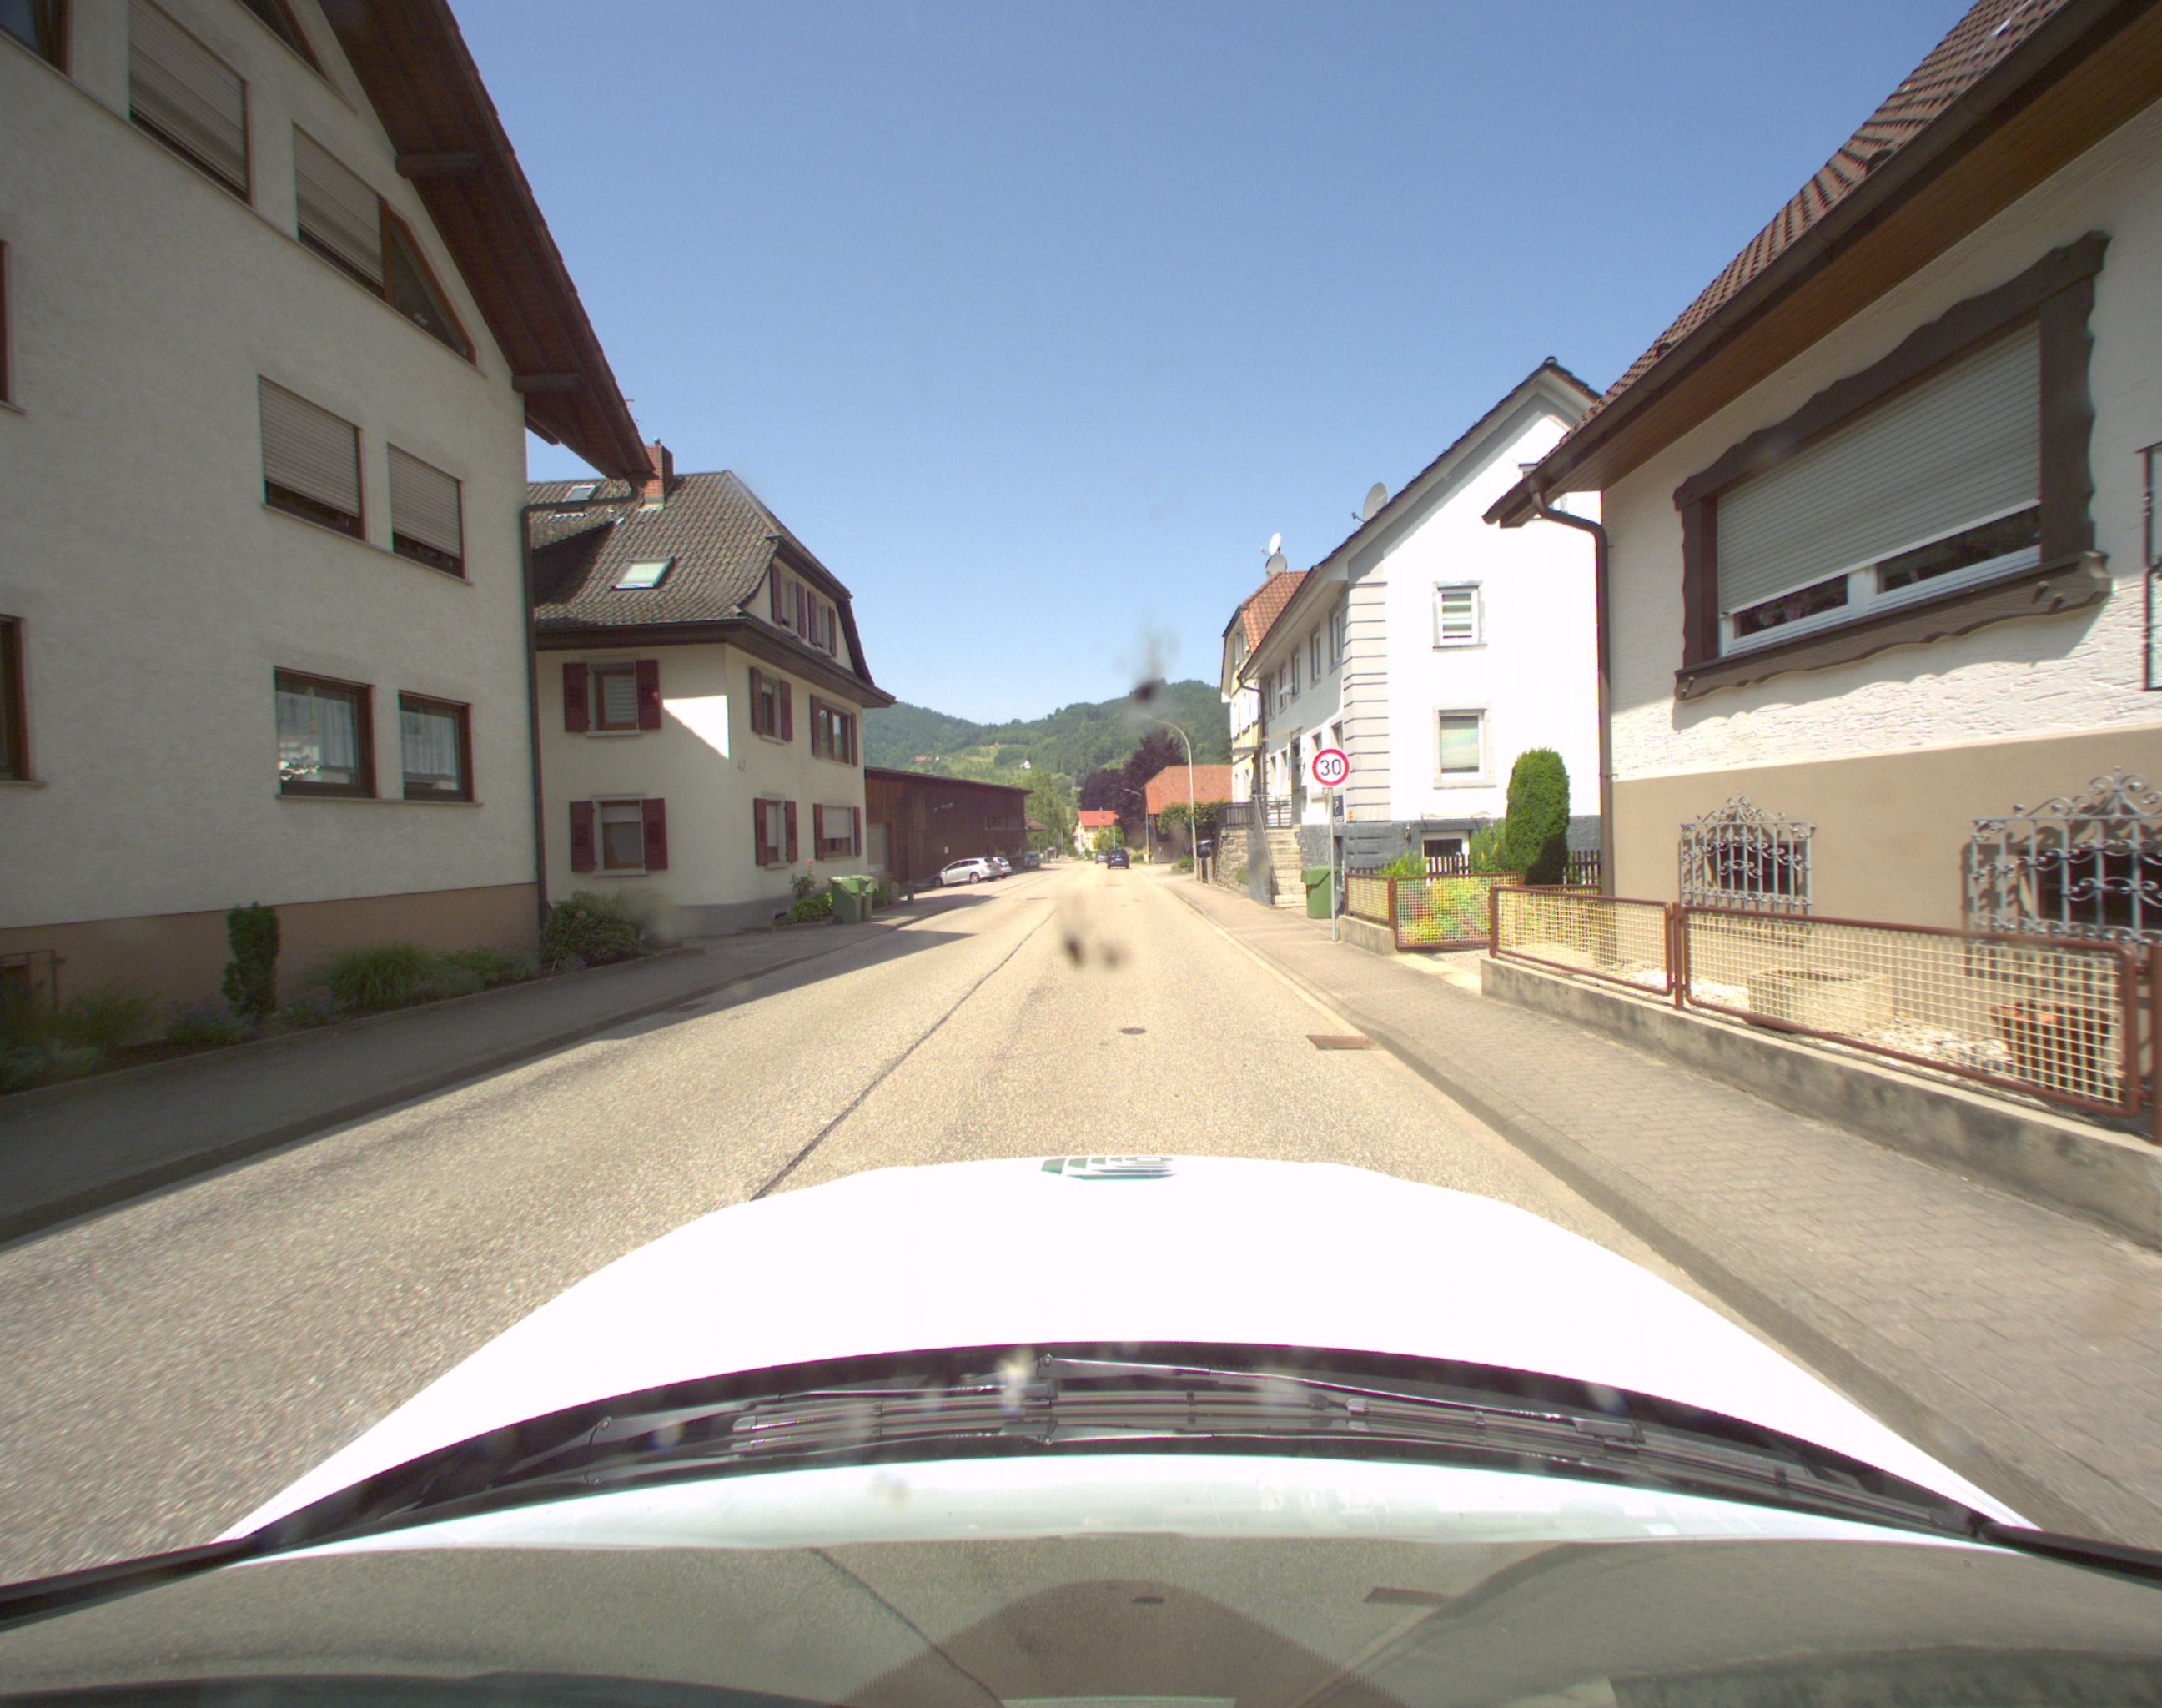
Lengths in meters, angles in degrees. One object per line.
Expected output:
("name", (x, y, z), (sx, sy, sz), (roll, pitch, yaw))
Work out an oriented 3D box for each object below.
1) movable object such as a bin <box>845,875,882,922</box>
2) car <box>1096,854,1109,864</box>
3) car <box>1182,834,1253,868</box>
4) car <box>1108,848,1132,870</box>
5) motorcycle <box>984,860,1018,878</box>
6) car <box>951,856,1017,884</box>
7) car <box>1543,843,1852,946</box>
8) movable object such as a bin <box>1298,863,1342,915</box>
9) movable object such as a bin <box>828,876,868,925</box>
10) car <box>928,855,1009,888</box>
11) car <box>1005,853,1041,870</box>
("movable object such as a bin", (-5.198, 1.054, 19.457), (0.673, 1.067, 0.621), (-2, 0, 0))
("car", (2.960, 0.673, 111.904), (1.473, 1.209, 2.382), (-3, 0, -3))
("car", (8.641, -0.184, 51.771), (4.201, 1.687, 1.779), (-7, 0, 5))
("car", (3.211, 0.418, 67.712), (1.912, 1.698, 3.790), (-3, 0, 2))
("motorcycle", (-6.128, 1.146, 62.396), (2.393, 1.264, 0.745), (-3, 0, 11))
("car", (-6.171, 1.031, 51.970), (3.630, 1.385, 1.719), (-6, -1, 17))
("car", (10.533, 0.646, 14.174), (3.940, 1.590, 1.802), (1, 0, 5))
("movable object such as a bin", (4.898, 0.714, 16.718), (0.701, 1.020, 0.618), (-2, 0, 3))
("movable object such as a bin", (-5.319, 1.059, 18.636), (0.673, 1.067, 0.653), (-2, 0, 0))
("car", (-6.789, 1.057, 48.942), (4.388, 1.474, 1.936), (-6, -1, 27))
("car", (-5.344, 0.670, 75.582), (1.716, 1.454, 4.825), (-1, 1, 16))
